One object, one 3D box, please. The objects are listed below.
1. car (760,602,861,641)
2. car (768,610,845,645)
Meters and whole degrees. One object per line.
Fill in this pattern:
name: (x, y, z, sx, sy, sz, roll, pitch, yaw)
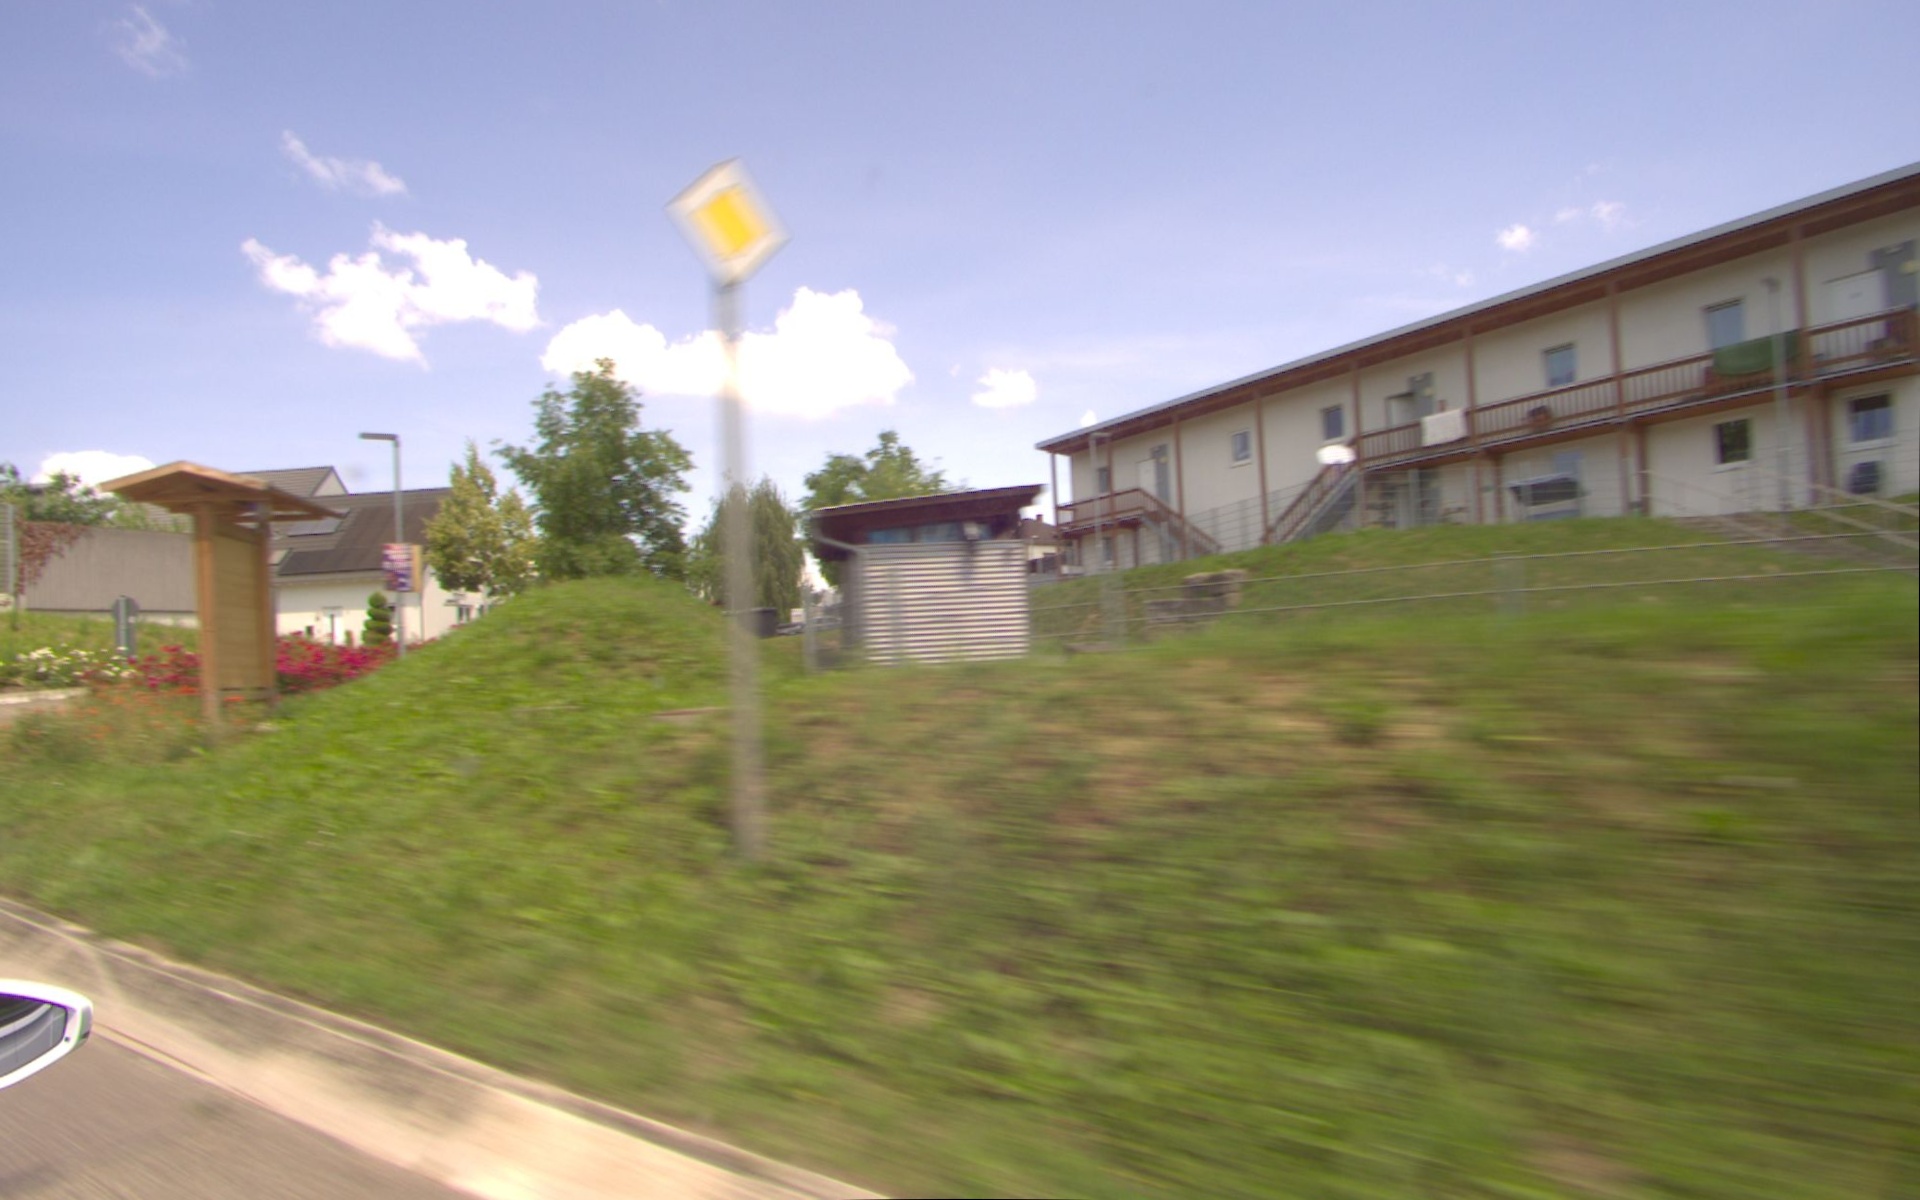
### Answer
car: (-7.566, 1.134, 51.105, 4.963, 1.789, 2.003, 1, -5, -4)
car: (-8.595, 1.580, 56.378, 4.146, 1.789, 2.003, 1, -5, -4)
